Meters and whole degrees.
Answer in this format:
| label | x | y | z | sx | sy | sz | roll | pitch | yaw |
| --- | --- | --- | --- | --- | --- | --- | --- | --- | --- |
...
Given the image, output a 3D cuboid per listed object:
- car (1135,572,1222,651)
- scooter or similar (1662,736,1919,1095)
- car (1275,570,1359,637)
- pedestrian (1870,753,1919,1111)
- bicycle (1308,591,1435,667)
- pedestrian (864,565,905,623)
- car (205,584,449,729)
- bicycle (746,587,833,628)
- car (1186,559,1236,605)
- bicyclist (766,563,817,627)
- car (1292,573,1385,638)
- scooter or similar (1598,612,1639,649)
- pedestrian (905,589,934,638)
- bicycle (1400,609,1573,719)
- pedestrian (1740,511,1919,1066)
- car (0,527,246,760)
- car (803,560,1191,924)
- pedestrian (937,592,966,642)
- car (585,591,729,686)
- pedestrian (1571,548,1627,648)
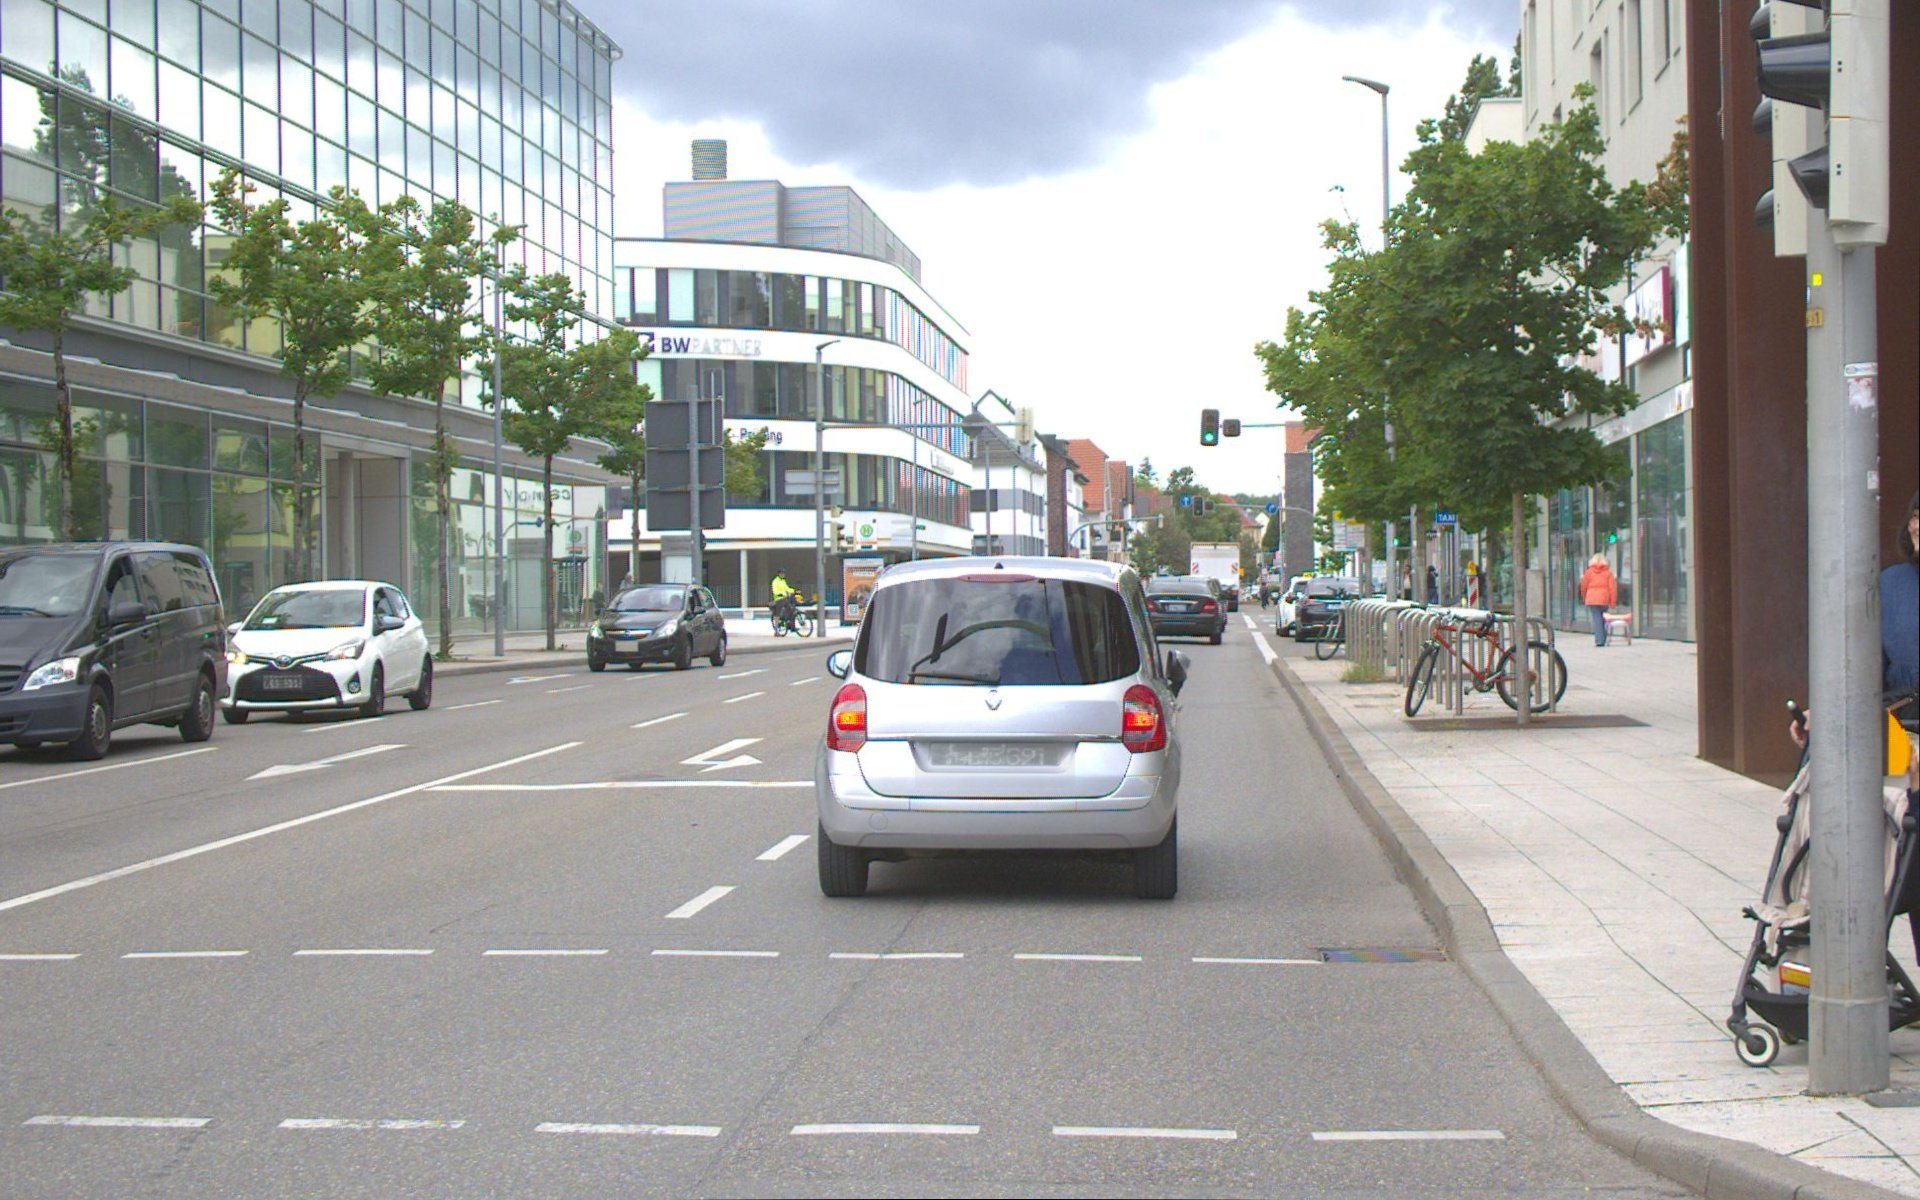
| label | x | y | z | sx | sy | sz | roll | pitch | yaw |
| --- | --- | --- | --- | --- | --- | --- | --- | --- | --- |
| car | 4.597 | 0.217 | 72.049 | 1.670 | 1.549 | 3.641 | 1 | 1 | 5 |
| scooter or similar | 2.480 | 0.899 | 10.028 | 0.634 | 0.958 | 0.619 | 0 | 1 | 38 |
| car | 8.527 | 0.056 | 82.326 | 1.877 | 1.503 | 3.999 | 1 | 1 | 5 |
| pedestrian | 2.684 | 0.889 | 9.305 | 0.362 | 0.921 | 0.454 | 0 | 1 | 7 |
| bicycle | 6.190 | 0.433 | 51.821 | 1.825 | 1.071 | 0.752 | -2 | 0 | 3 |
| pedestrian | -2.466 | -0.197 | 111.610 | 1.246 | 1.827 | 0.964 | -1 | 0 | -4 |
| car | -6.981 | 0.593 | 38.292 | 1.660 | 1.460 | 3.999 | -2 | 1 | 4 |
| bicycle | -4.573 | 0.182 | 91.874 | 1.006 | 1.015 | 3.130 | 1 | 0 | -29 |
| car | 11.399 | -0.840 | 156.036 | 2.170 | 2.007 | 4.257 | -1 | 1 | 5 |
| bicyclist | -4.508 | -0.135 | 91.777 | 1.006 | 1.655 | 0.933 | 1 | 0 | -29 |
| car | 8.334 | 0.096 | 75.944 | 1.877 | 1.330 | 3.999 | 2 | 1 | 5 |
| scooter or similar | 10.493 | 0.480 | 54.808 | 0.550 | 0.544 | 0.642 | -4 | 0 | 5 |
| pedestrian | -1.549 | 0.512 | 131.255 | 0.961 | 1.827 | 1.250 | -1 | 0 | 5 |
| bicycle | 4.876 | 0.590 | 31.902 | 1.561 | 0.989 | 0.752 | -1 | 1 | 8 |
| pedestrian | 2.941 | 0.550 | 10.509 | 0.872 | 1.641 | 0.679 | 0 | 1 | 39 |
| car | -8.067 | 0.345 | 30.845 | 1.865 | 1.903 | 5.113 | -2 | 1 | 4 |
| car | 0.225 | 0.603 | 16.914 | 1.670 | 1.549 | 3.642 | 1 | 1 | 2 |
| pedestrian | -0.325 | 0.644 | 129.710 | 0.961 | 1.827 | 1.250 | -1 | 0 | 5 |
| car | -5.089 | 0.625 | 58.178 | 1.660 | 1.475 | 3.999 | -2 | 1 | 6 |
| pedestrian | 10.352 | -0.039 | 55.688 | 0.710 | 1.569 | 0.812 | -4 | 0 | 5 |
